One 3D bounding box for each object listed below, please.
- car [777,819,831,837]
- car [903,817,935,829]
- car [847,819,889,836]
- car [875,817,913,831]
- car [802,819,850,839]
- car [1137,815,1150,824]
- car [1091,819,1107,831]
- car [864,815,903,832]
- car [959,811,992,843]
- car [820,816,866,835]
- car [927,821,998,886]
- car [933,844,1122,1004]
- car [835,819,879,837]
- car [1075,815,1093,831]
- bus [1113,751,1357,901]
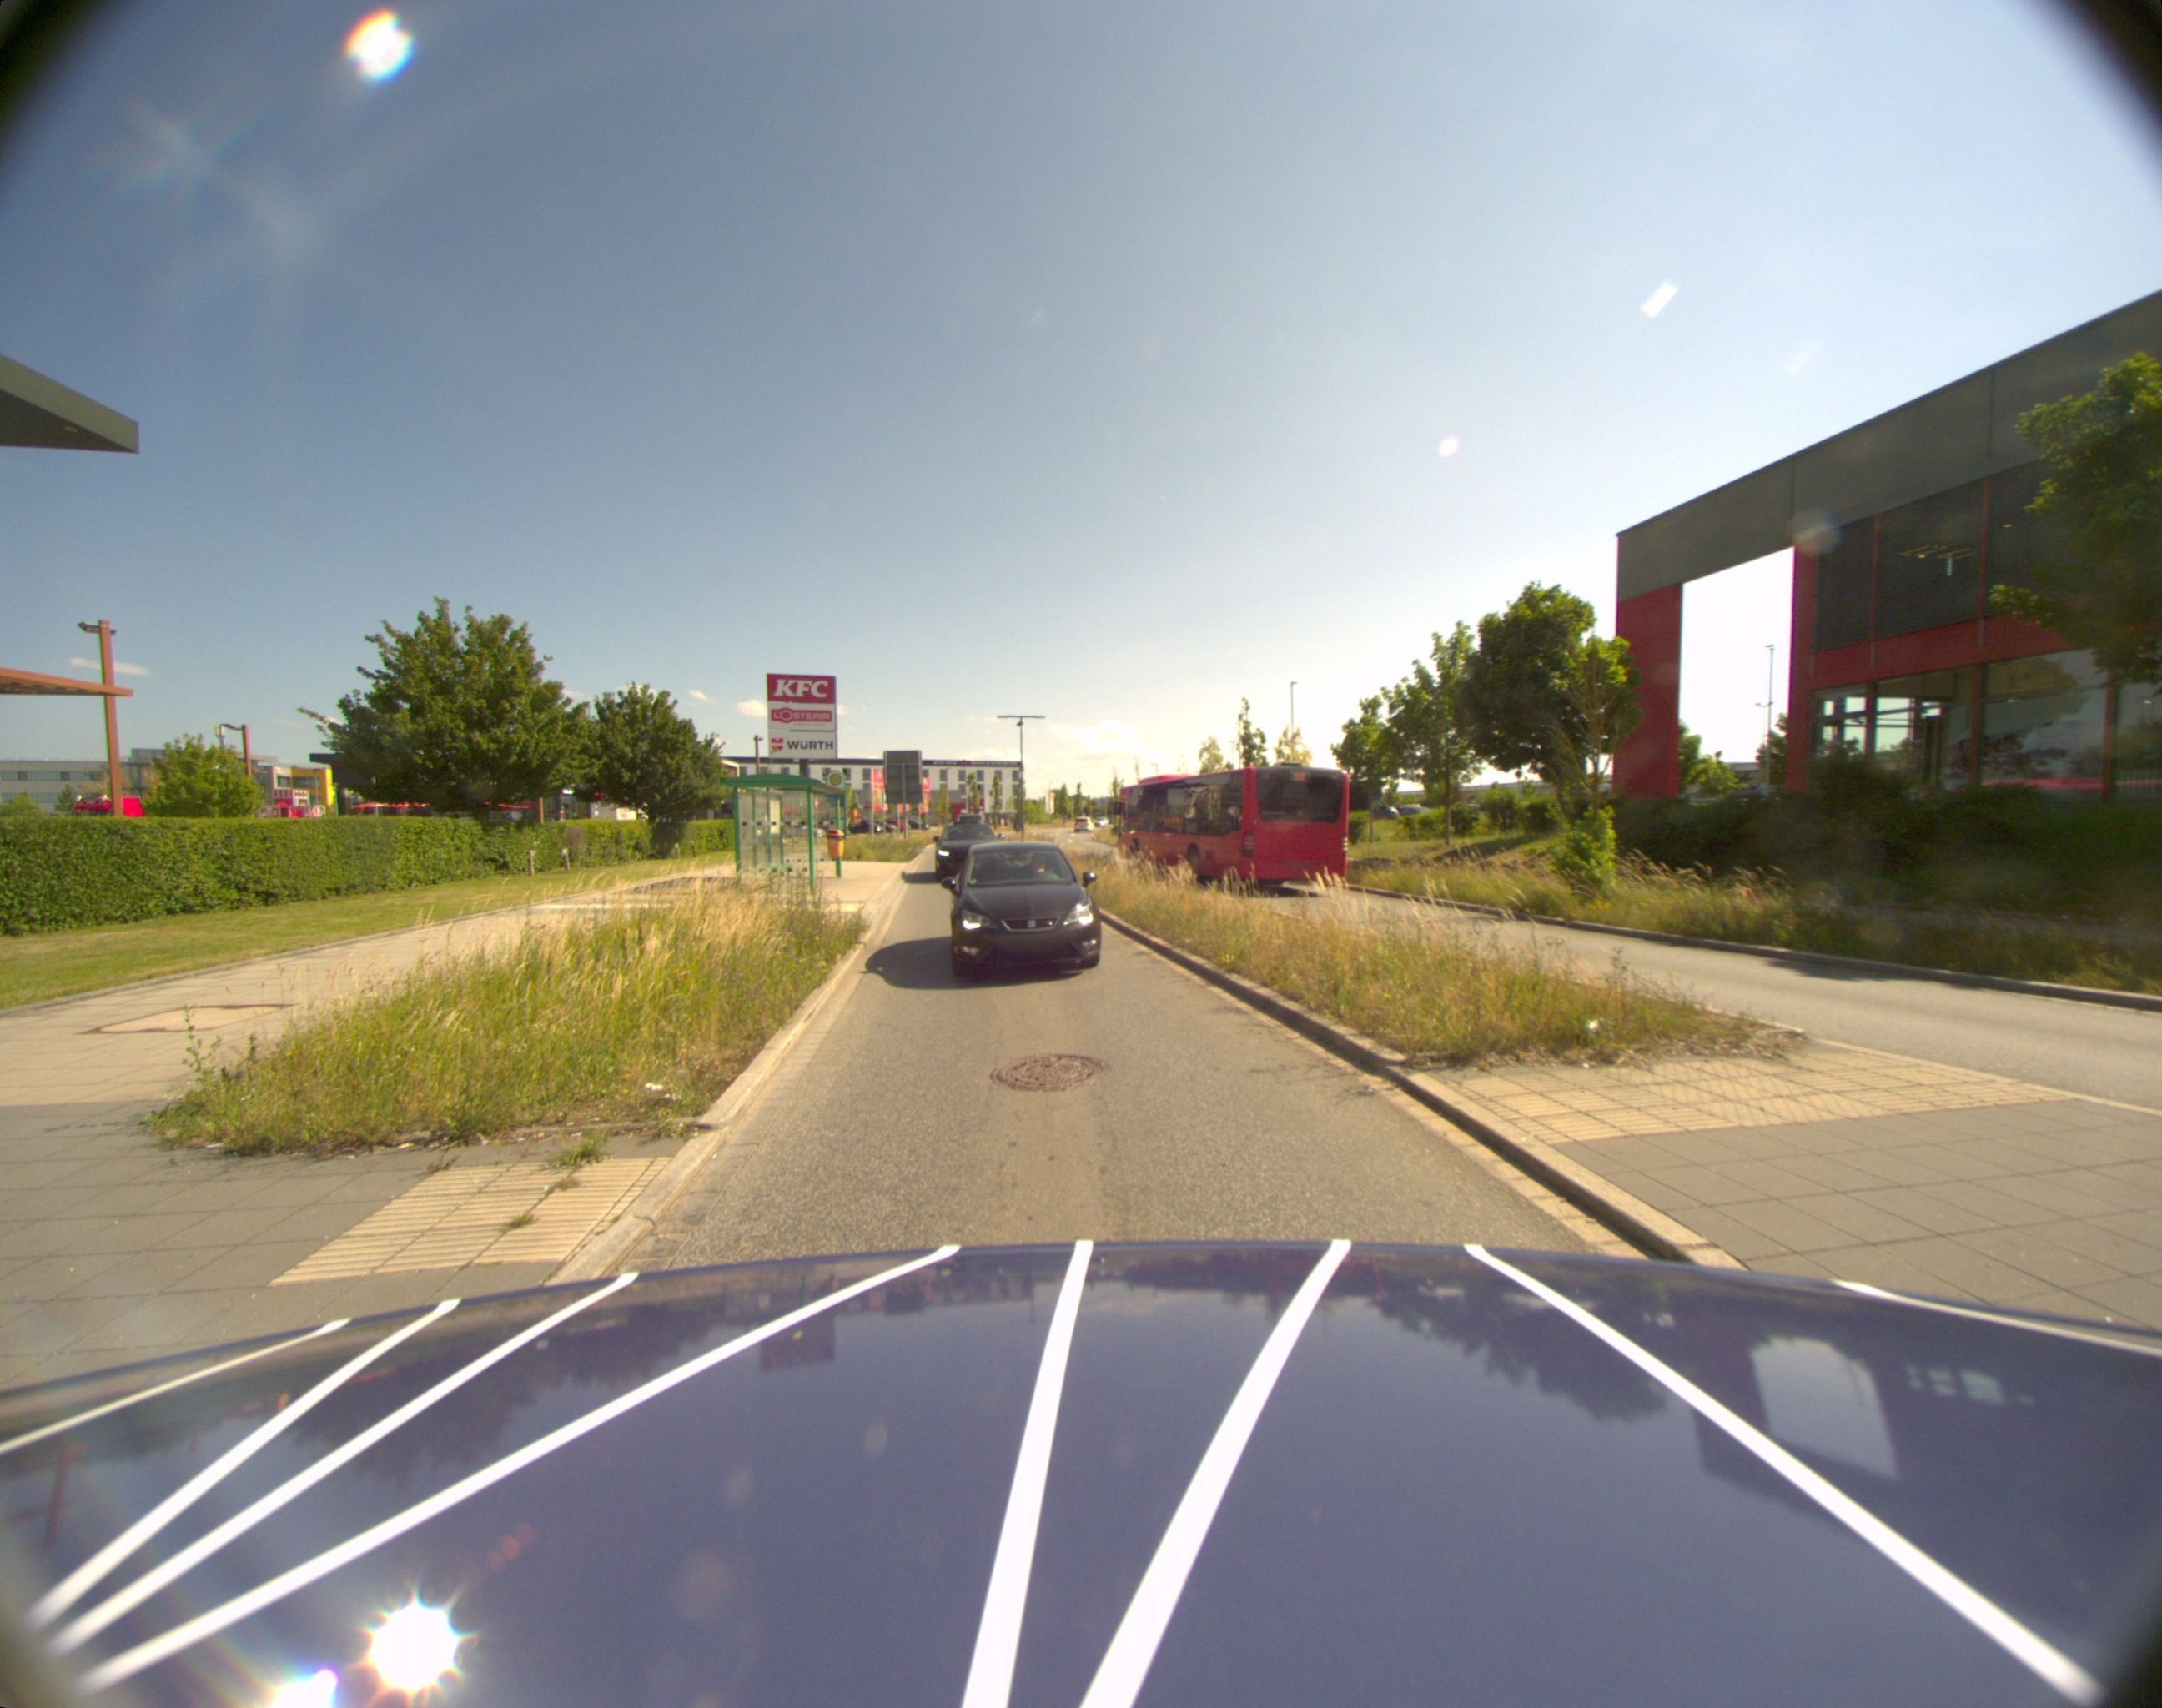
[{"bbox_3d":[-26.435,-2.484,72.696,4.441,1.644,1.932,-1,3,-3],"label":"car"},{"bbox_3d":[-21.609,-4.115,101.485,3.821,1.611,1.756,0,3,4],"label":"car"},{"bbox_3d":[-24.314,-3.063,86.727,4.181,1.847,1.803,0,3,8],"label":"car"},{"bbox_3d":[-23.358,-3.754,94.761,4.181,1.752,1.824,0,3,8],"label":"car"},{"bbox_3d":[-25.978,-2.524,77.426,4.182,2.003,1.933,0,3,5],"label":"car"},{"bbox_3d":[10.880,-6.005,132.079,1.999,1.609,3.998,-1,3,0],"label":"car"},{"bbox_3d":[2.623,-4.207,110.861,1.997,1.675,4.000,0,2,6],"label":"car"},{"bbox_3d":[-23.829,-3.675,91.822,4.183,2.003,1.933,0,3,3],"label":"car"},{"bbox_3d":[-7.349,-1.943,53.367,2.080,2.037,4.677,-3,3,-7],"label":"car"},{"bbox_3d":[-25.247,-3.038,80.532,4.182,2.003,1.933,0,3,4],"label":"car"},{"bbox_3d":[-3.526,-0.096,23.069,1.863,1.679,3.995,-3,3,-7],"label":"car"},{"bbox_3d":[-0.804,0.676,9.717,1.863,1.460,3.996,-3,2,-8],"label":"car"},{"bbox_3d":[-24.856,-2.885,84.265,4.182,2.003,1.933,0,3,5],"label":"car"},{"bbox_3d":[0.380,-3.358,81.449,1.861,1.705,4.155,0,3,1],"label":"car"},{"bbox_3d":[3.647,-0.773,22.404,2.618,3.223,11.865,-1,2,-11],"label":"bus"}]
